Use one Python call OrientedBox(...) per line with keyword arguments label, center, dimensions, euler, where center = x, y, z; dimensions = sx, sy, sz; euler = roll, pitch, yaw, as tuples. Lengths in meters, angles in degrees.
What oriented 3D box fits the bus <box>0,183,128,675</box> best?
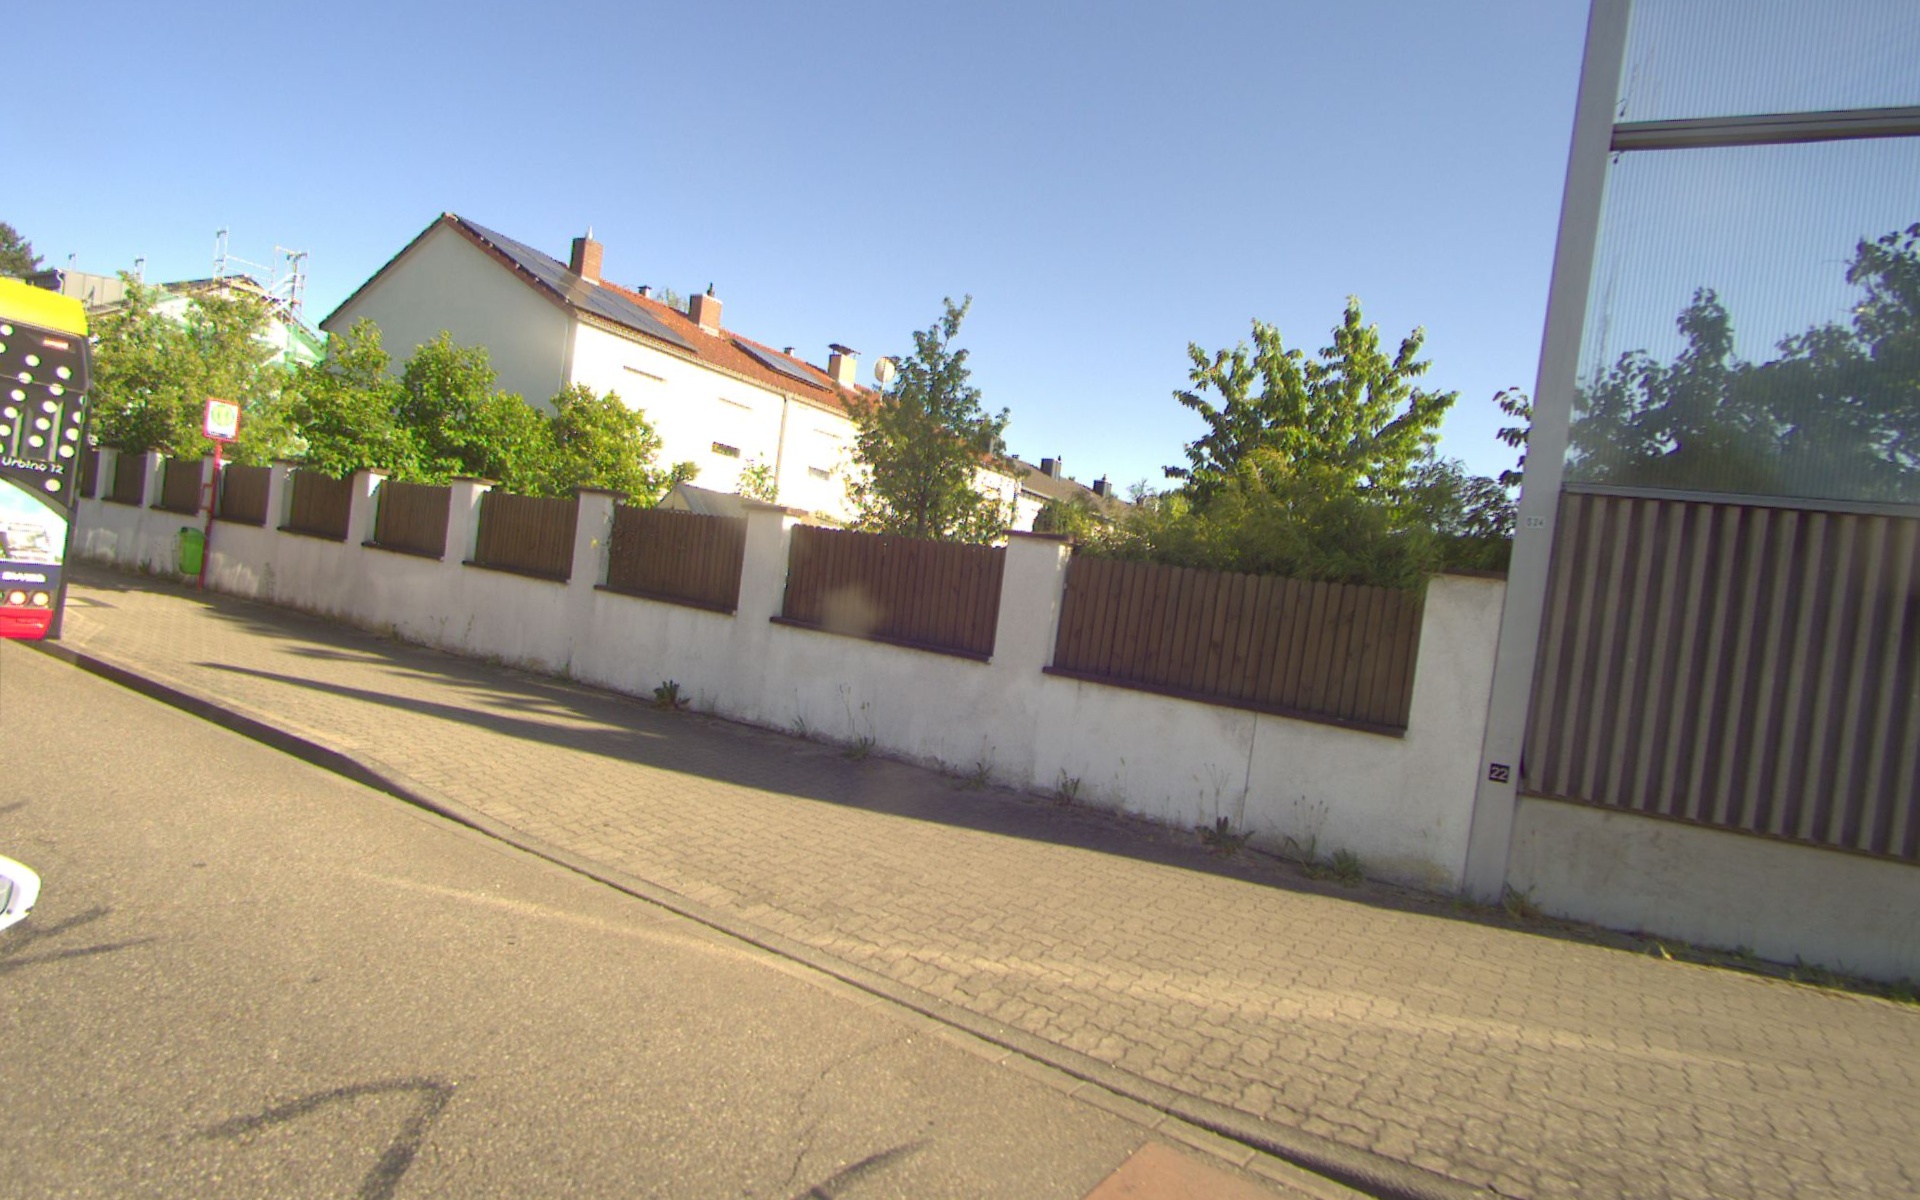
OrientedBox(label="bus", center=(-12.197, -1.780, 10.291), dimensions=(12.208, 3.502, 2.756), euler=(6, 1, 37))
